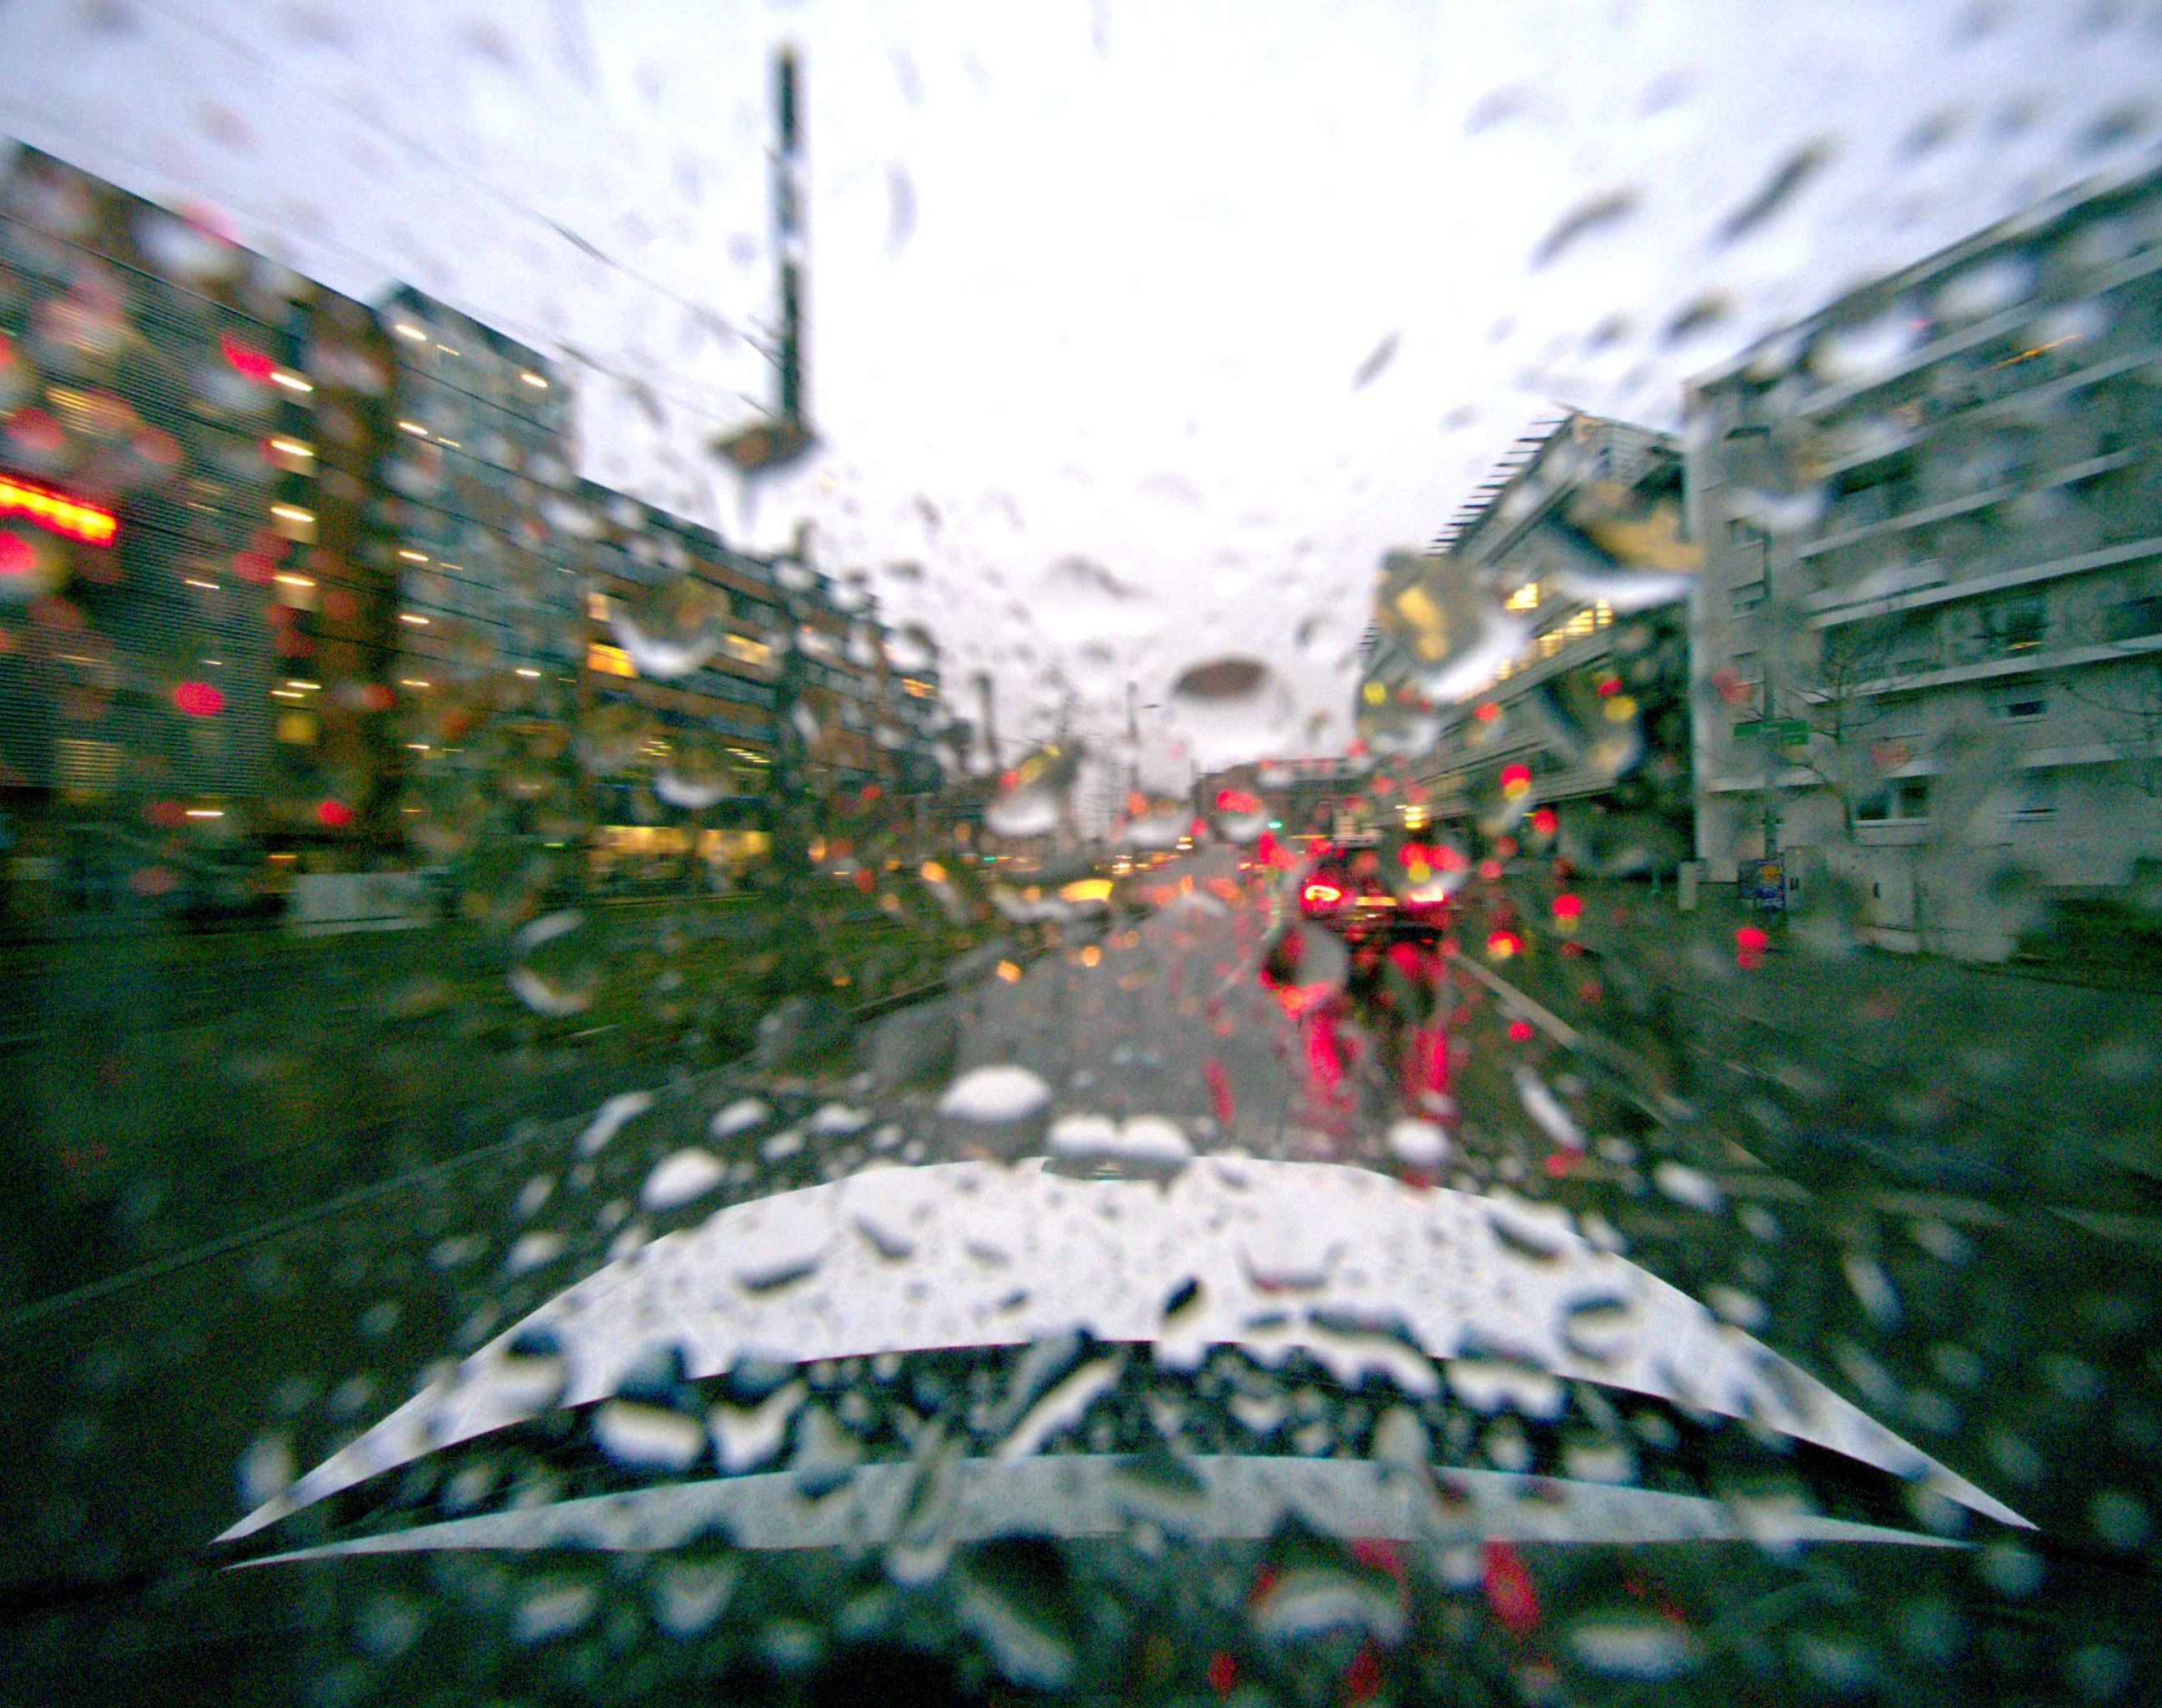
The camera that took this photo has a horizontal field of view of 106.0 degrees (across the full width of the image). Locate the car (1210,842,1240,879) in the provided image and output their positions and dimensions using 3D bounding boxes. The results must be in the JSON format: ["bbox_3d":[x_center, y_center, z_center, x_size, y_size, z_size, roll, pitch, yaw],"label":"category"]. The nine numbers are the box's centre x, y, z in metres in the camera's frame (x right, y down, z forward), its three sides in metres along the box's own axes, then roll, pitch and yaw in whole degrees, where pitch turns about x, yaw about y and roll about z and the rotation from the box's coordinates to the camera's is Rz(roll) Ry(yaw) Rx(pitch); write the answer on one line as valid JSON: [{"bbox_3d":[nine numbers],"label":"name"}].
[{"bbox_3d":[10.289,0.476,58.604,1.982,2.427,5.989,-1,-1,9],"label":"car"}]

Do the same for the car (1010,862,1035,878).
[{"bbox_3d":[-5.370,1.453,75.454,1.807,1.442,3.959,-1,-1,3],"label":"car"}]

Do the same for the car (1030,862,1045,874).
[{"bbox_3d":[-5.414,1.762,101.905,1.501,1.402,3.550,-1,-1,1],"label":"car"}]

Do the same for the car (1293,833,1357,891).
[{"bbox_3d":[8.293,0.283,27.982,1.831,1.806,4.503,-1,-1,13],"label":"car"}]

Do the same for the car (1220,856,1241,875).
[{"bbox_3d":[11.959,0.938,65.264,1.509,1.520,3.479,-1,-1,10],"label":"car"}]

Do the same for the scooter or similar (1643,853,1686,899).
[{"bbox_3d":[16.271,0.608,22.752,0.662,1.227,1.565,-2,-2,25],"label":"scooter or similar"}]

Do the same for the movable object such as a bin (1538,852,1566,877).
[{"bbox_3d":[25.700,0.573,44.461,0.840,1.294,1.169,-3,-1,3],"label":"movable object such as a bin"}]

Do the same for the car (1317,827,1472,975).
[{"bbox_3d":[4.398,0.593,11.963,1.661,1.779,4.016,-1,-1,15],"label":"car"}]

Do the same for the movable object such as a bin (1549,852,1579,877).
[{"bbox_3d":[25.605,0.567,43.198,0.840,1.294,1.169,-3,-1,3],"label":"movable object such as a bin"}]

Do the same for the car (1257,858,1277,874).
[{"bbox_3d":[15.661,0.997,68.473,1.501,1.306,3.052,-1,-1,14],"label":"car"}]

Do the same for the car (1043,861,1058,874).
[{"bbox_3d":[-3.381,1.482,90.862,1.501,1.373,3.652,-1,-1,0],"label":"car"}]

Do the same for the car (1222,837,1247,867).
[{"bbox_3d":[15.406,-0.143,81.760,2.340,2.827,6.377,-1,-1,10],"label":"car"}]

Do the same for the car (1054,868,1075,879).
[{"bbox_3d":[-2.147,2.562,107.112,1.717,1.393,4.214,-1,-1,13],"label":"car"}]

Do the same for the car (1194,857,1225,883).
[{"bbox_3d":[7.914,0.965,50.048,1.628,1.496,3.697,-1,0,12],"label":"car"}]
